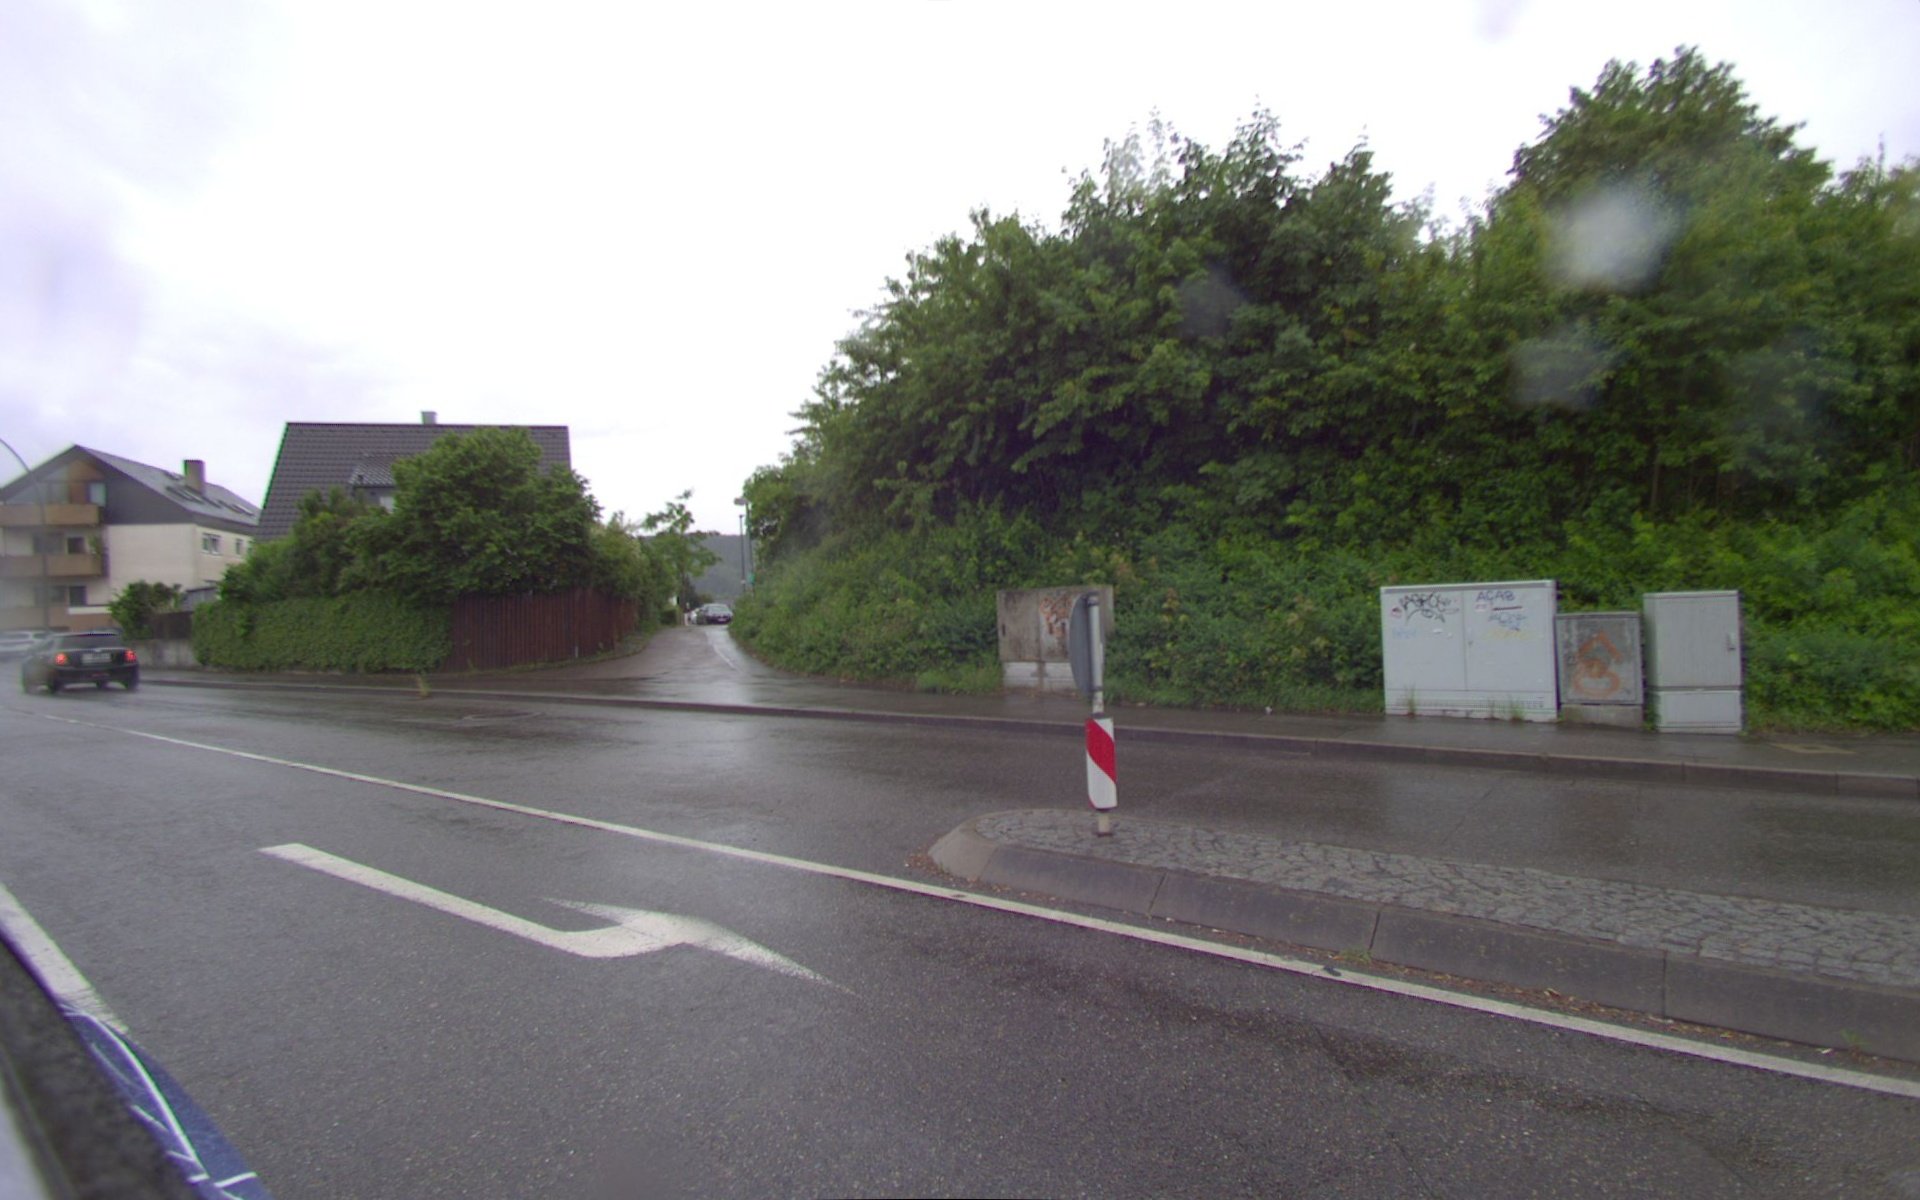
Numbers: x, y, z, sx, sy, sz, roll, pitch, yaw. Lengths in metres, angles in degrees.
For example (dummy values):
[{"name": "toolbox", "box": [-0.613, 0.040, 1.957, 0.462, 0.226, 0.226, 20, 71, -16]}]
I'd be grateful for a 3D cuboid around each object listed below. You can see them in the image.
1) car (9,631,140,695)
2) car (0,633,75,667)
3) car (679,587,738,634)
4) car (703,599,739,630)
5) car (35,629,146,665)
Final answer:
[{"name": "car", "box": [-21.688, 1.491, 24.770, 3.453, 1.397, 1.661, -2, 0, 35]}, {"name": "car", "box": [-46.765, 2.498, 50.942, 1.837, 1.530, 4.012, -2, 0, -18]}, {"name": "car", "box": [-9.158, 0.357, 37.047, 1.683, 1.600, 3.668, -1, 0, -8]}, {"name": "car", "box": [-15.575, 0.931, 66.168, 1.968, 1.873, 4.008, -2, 0, -9]}, {"name": "car", "box": [-41.527, 2.222, 48.426, 3.609, 1.530, 1.759, -2, 0, -15]}]
